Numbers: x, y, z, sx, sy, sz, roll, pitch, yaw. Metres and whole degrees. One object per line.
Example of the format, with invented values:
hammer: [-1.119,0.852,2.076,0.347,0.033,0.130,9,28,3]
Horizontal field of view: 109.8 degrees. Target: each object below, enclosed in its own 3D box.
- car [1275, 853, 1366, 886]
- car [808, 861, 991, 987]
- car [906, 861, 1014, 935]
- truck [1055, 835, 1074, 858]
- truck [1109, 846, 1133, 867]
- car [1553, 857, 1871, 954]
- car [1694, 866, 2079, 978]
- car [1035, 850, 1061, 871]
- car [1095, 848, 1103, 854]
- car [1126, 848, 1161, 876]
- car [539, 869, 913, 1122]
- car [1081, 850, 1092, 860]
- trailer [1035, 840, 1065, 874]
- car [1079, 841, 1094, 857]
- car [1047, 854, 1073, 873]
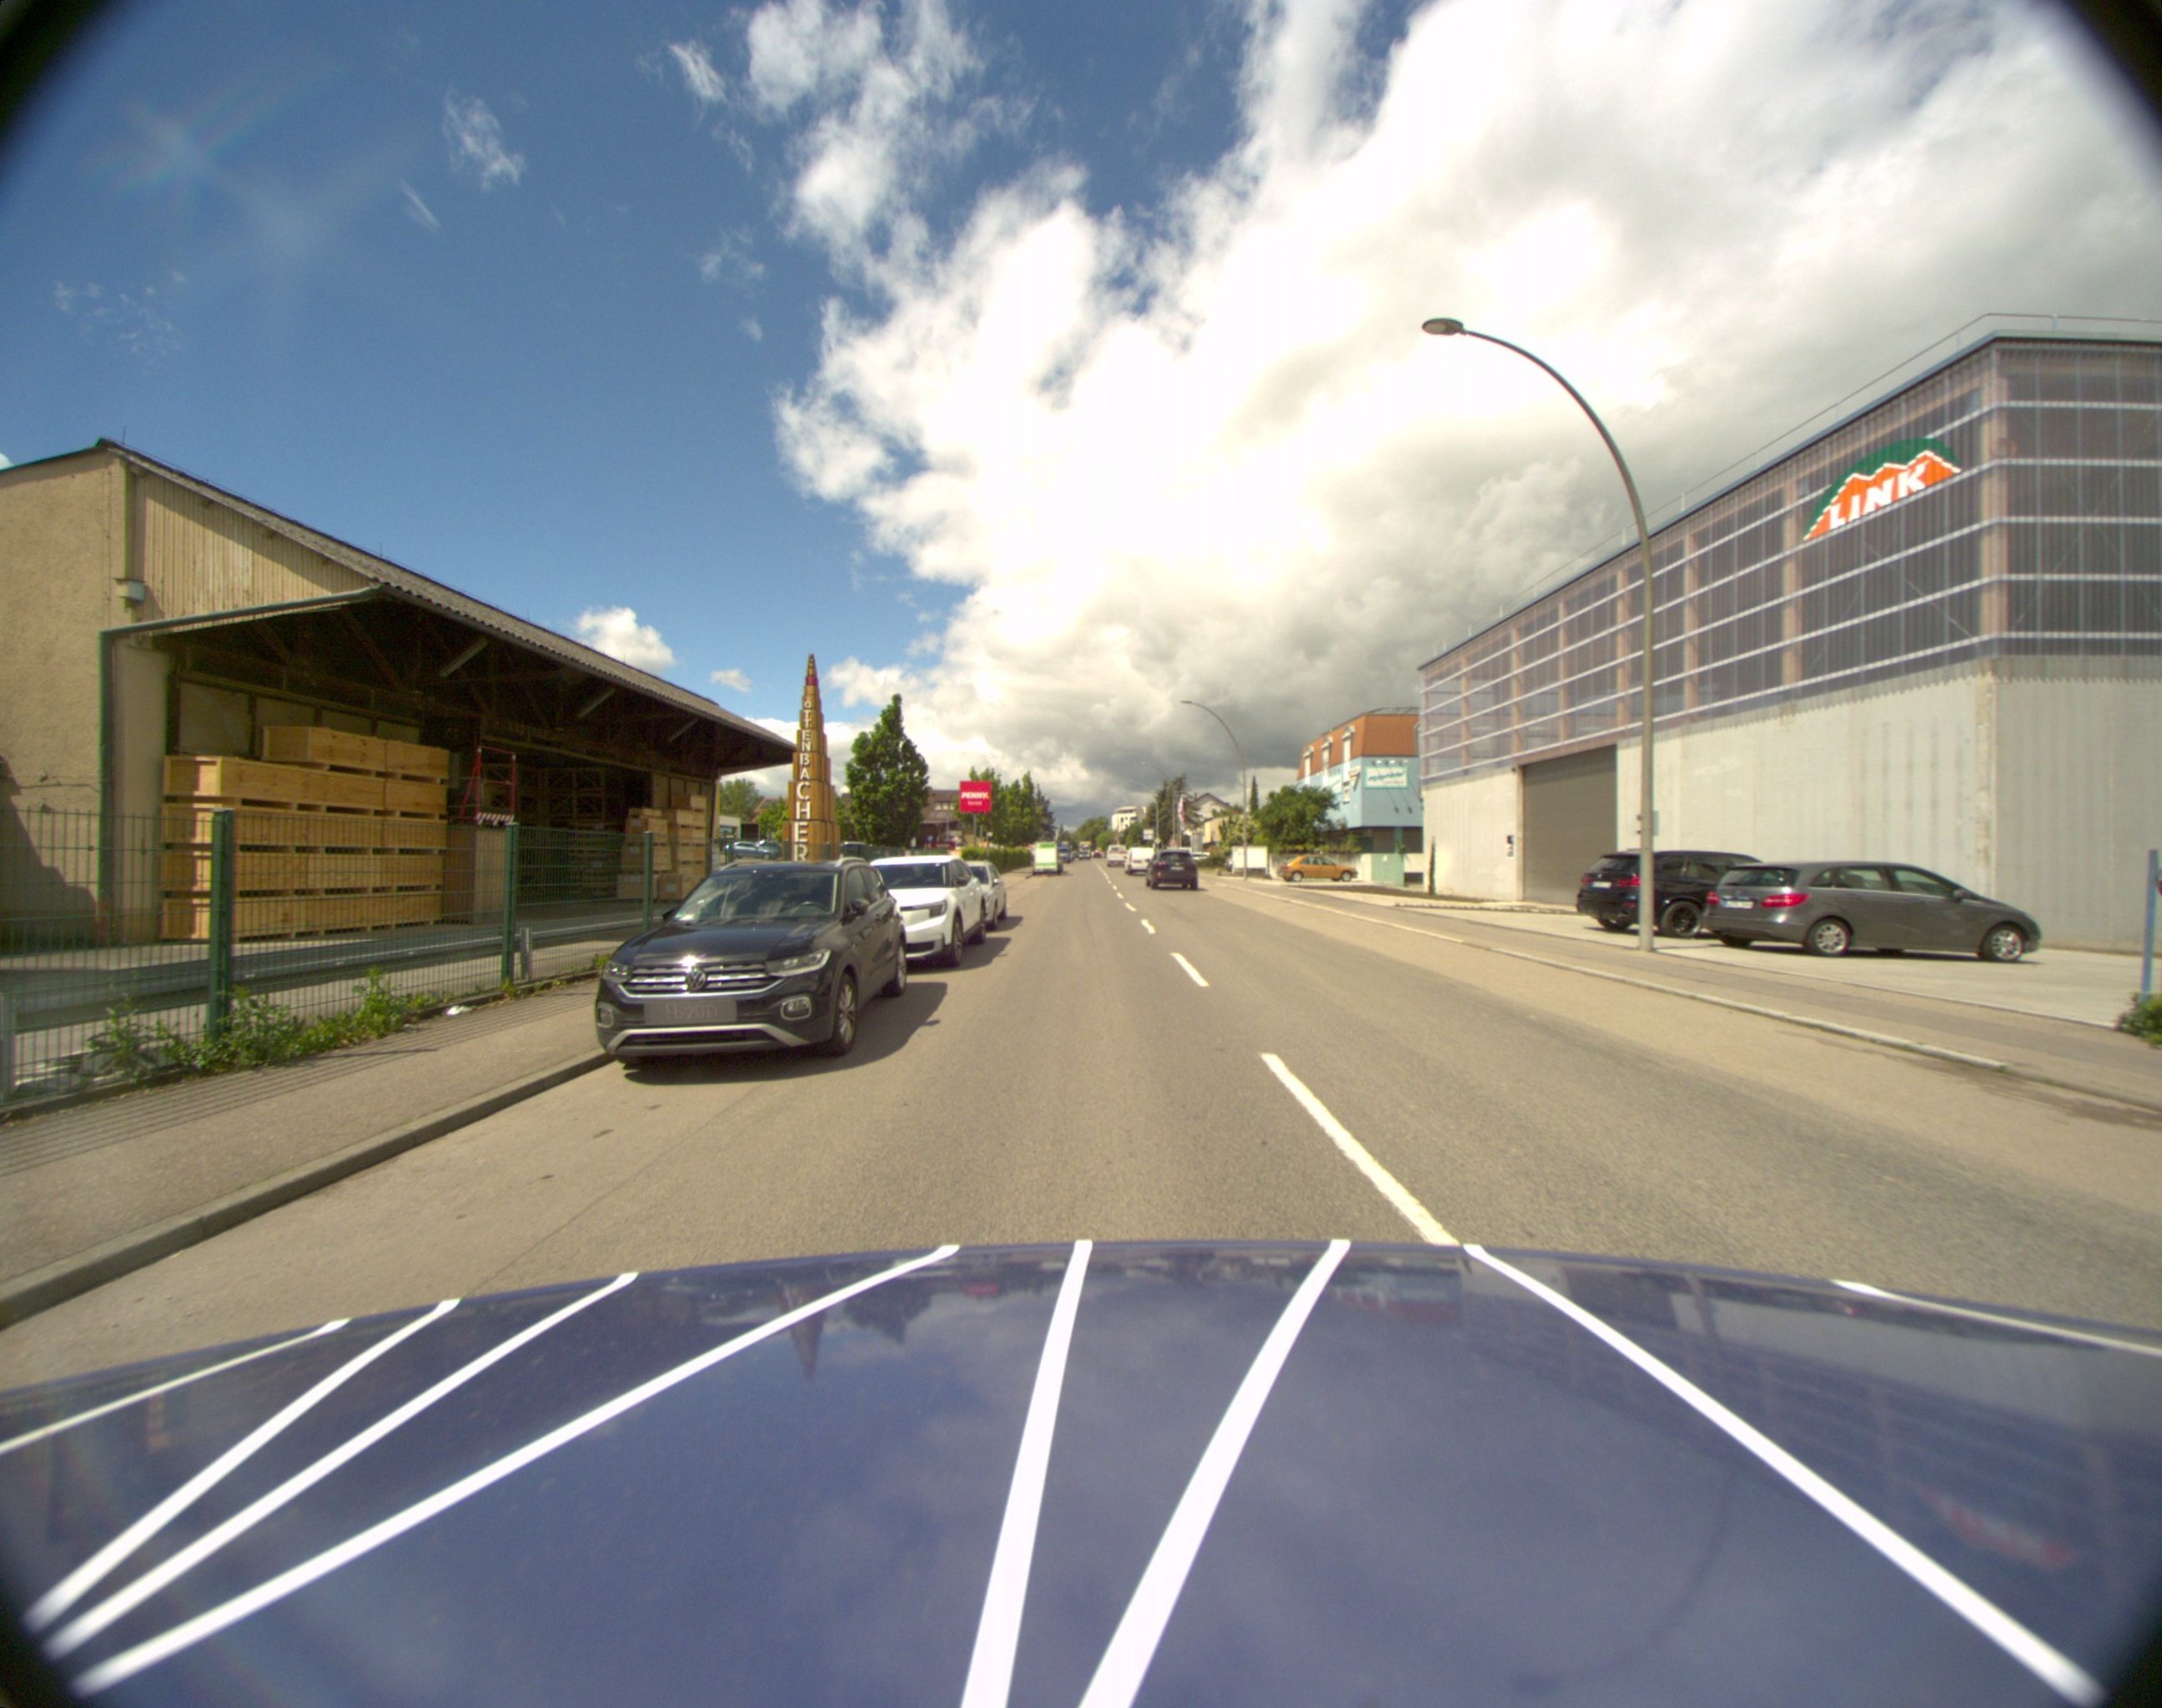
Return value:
car: [12.643,0.807,40.198,4.161,1.483,1.825,-3,0,-3]
car: [-2.589,0.919,12.003,1.796,1.543,4.573,1,0,0]
car: [-2.630,0.919,17.553,1.796,1.441,4.363,1,0,0]
truck: [-2.249,-1.026,105.034,2.326,3.079,6.042,-2,0,1]
truck: [4.187,0.253,79.914,2.324,2.166,6.450,1,0,2]
car: [12.556,0.977,15.371,4.639,1.623,2.197,3,0,-3]
car: [13.025,1.064,12.476,4.473,1.496,1.825,3,0,-3]
car: [-2.550,0.477,59.621,1.947,1.562,4.445,0,0,-2]
car: [4.744,-0.725,200.648,1.999,1.606,4.411,1,0,0]
car: [4.321,0.516,52.987,1.999,1.877,5.116,0,0,0]
car: [-2.749,0.953,6.988,1.694,1.543,4.084,0,0,-3]
car: [0.912,0.184,131.835,1.891,1.708,3.999,1,0,0]
trailer: [-2.145,0.162,53.115,1.946,2.281,4.445,0,0,-1]
car: [1.265,-1.140,179.407,3.263,3.595,10.269,-1,-1,-1]
car: [-1.810,0.802,66.165,1.946,1.562,4.446,0,0,3]
